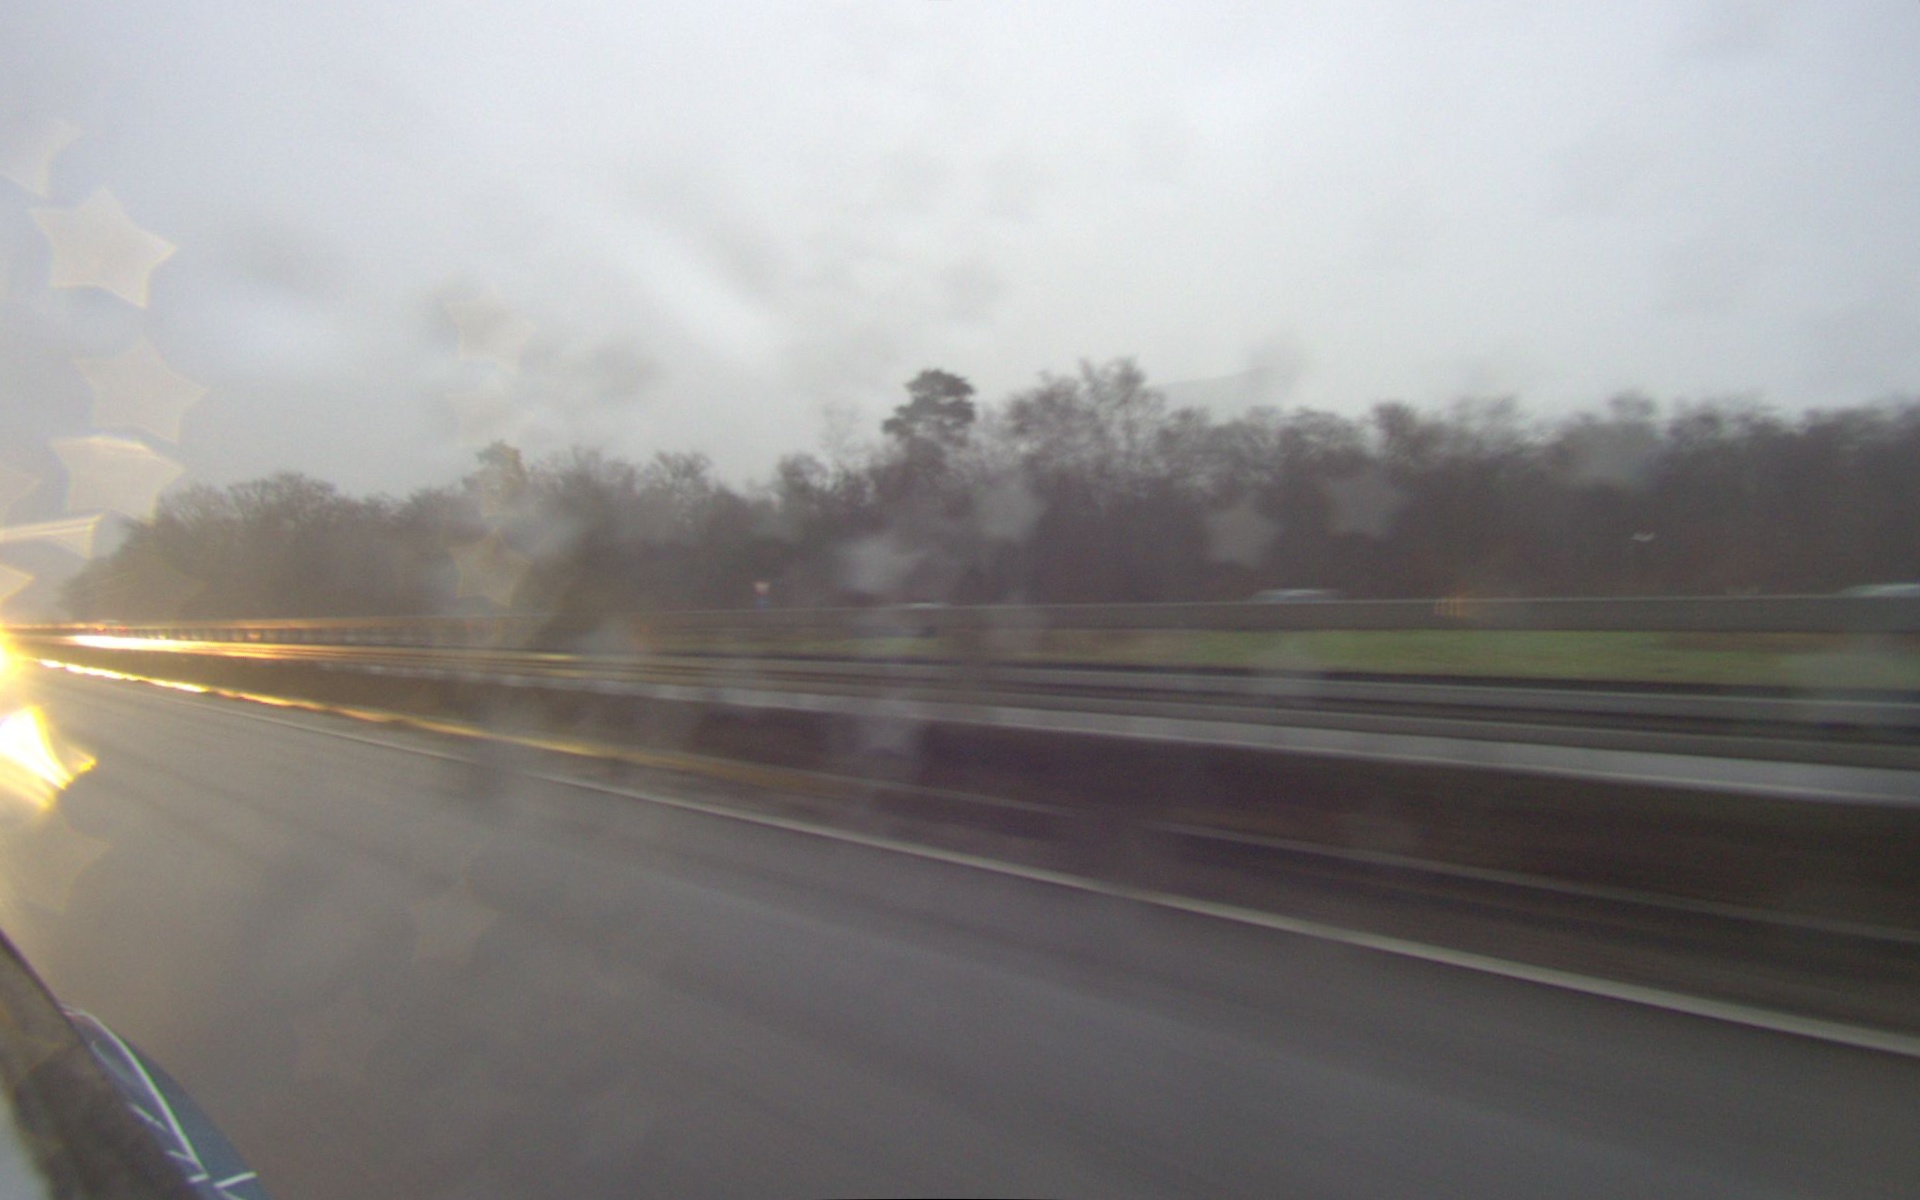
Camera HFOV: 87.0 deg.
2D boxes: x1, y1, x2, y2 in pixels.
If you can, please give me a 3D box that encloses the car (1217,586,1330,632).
[{"bbox_3d":[12.360,0.369,40.121,3.952,1.724,1.996,-1,0,7],"label":"car"}]
